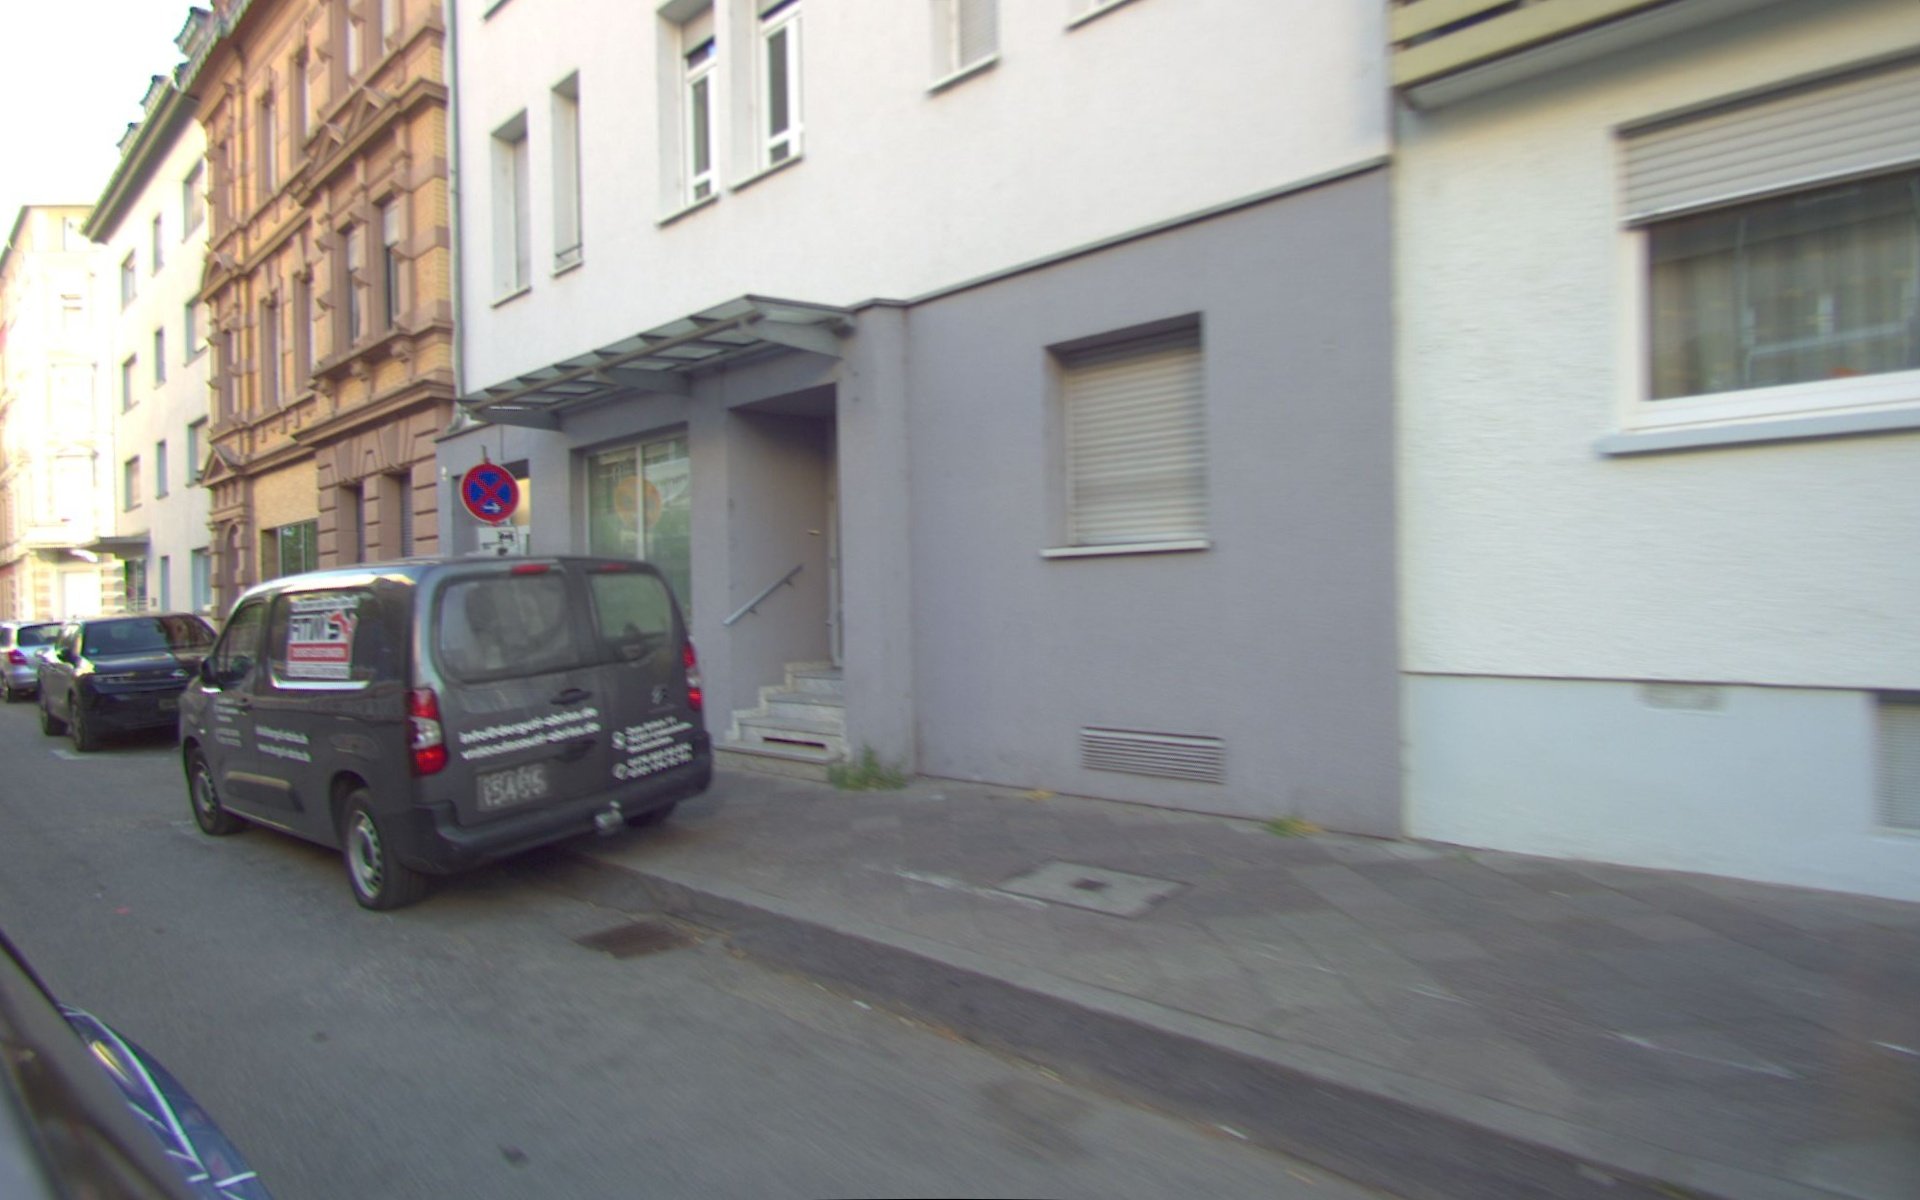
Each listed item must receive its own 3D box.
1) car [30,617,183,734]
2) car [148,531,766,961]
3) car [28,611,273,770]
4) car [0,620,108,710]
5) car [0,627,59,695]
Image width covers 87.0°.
[{"bbox_3d":[-13.179,1.102,15.589,2.792,1.600,1.381,-2,-1,41],"label":"car"},{"bbox_3d":[-3.536,0.684,6.660,4.581,1.873,1.973,-2,-1,40],"label":"car"},{"bbox_3d":[-10.126,1.010,12.551,4.013,1.611,1.722,-2,-1,42],"label":"car"},{"bbox_3d":[-18.046,1.221,19.755,3.595,1.520,1.540,-2,2,41],"label":"car"},{"bbox_3d":[-22.220,1.390,23.361,3.552,1.441,1.616,-2,-1,40],"label":"car"}]
